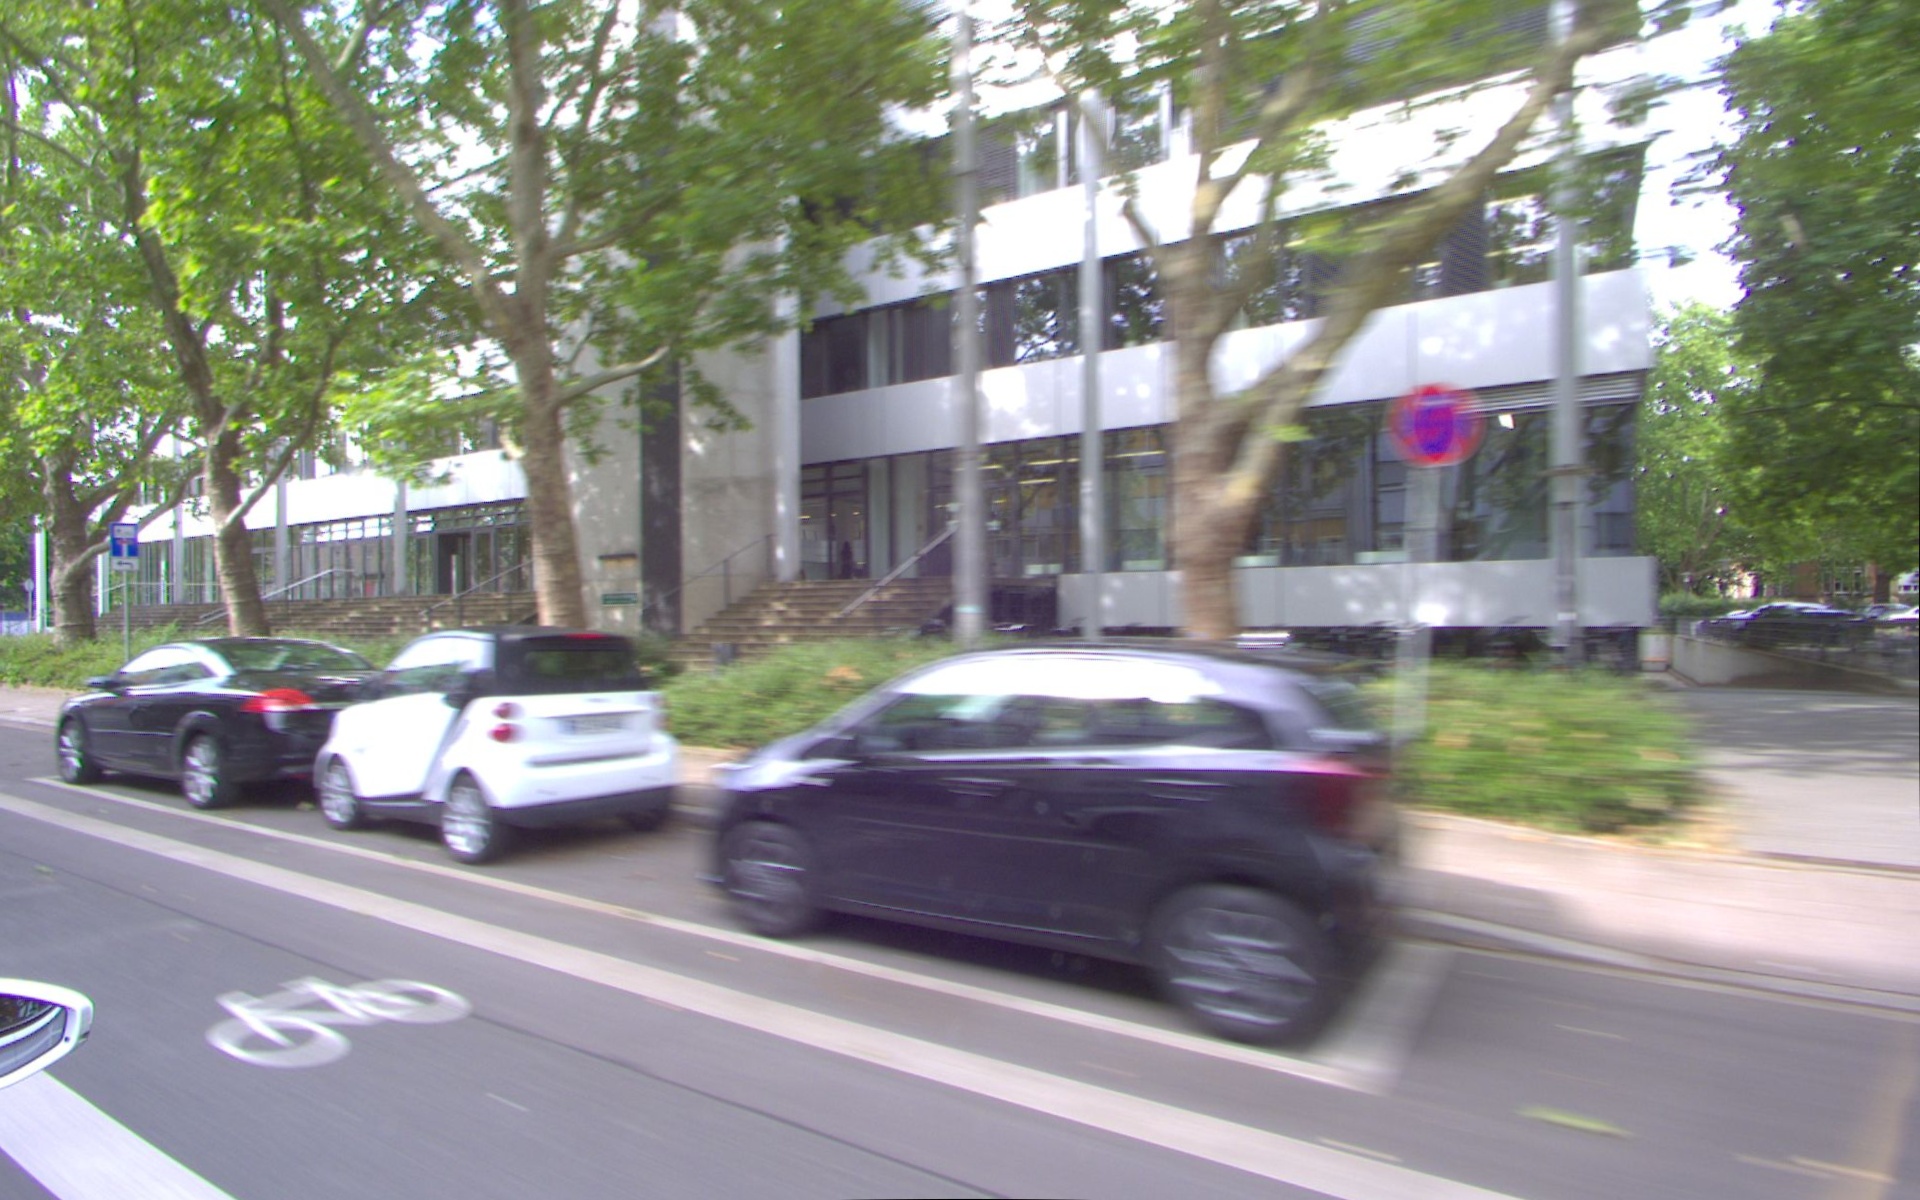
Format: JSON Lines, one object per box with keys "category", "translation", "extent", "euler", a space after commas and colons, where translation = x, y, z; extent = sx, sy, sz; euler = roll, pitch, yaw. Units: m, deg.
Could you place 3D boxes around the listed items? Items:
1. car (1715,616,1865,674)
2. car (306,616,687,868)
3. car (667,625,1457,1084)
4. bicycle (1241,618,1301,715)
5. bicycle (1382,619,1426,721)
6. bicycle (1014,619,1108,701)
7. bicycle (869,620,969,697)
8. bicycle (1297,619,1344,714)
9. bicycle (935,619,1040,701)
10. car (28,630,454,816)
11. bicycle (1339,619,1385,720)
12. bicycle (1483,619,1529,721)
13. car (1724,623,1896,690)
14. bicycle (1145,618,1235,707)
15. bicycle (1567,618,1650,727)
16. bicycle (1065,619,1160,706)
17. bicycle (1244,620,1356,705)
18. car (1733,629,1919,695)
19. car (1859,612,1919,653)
{"category": "car", "translation": [36.504, 1.962, 44.236], "extent": [4.718, 2.438, 2.222], "euler": [-1, -2, 30]}
{"category": "car", "translation": [-3.536, 0.930, 7.597], "extent": [2.564, 1.563, 1.532], "euler": [-1, -2, 35]}
{"category": "car", "translation": [0.385, 0.902, 4.968], "extent": [3.608, 1.521, 1.526], "euler": [-1, -2, 33]}
{"category": "bicycle", "translation": [4.011, 0.823, 12.997], "extent": [0.611, 1.132, 1.698], "euler": [0, 0, 13]}
{"category": "bicycle", "translation": [5.439, 0.815, 12.250], "extent": [0.461, 1.132, 1.539], "euler": [0, 0, 25]}
{"category": "bicycle", "translation": [1.571, 0.884, 15.329], "extent": [0.663, 1.132, 1.911], "euler": [0, 0, 32]}
{"category": "bicycle", "translation": [-0.633, 0.913, 16.221], "extent": [0.663, 1.132, 1.911], "euler": [0, 0, 32]}
{"category": "bicycle", "translation": [4.644, 0.826, 12.938], "extent": [0.502, 1.132, 1.380], "euler": [0, 0, 17]}
{"category": "bicycle", "translation": [0.464, 0.889, 15.492], "extent": [0.663, 1.132, 2.075], "euler": [0, 0, 32]}
{"category": "car", "translation": [-7.060, 1.035, 9.732], "extent": [4.355, 1.443, 1.696], "euler": [-1, -2, 30]}
{"category": "bicycle", "translation": [4.950, 0.817, 12.289], "extent": [0.461, 1.132, 1.378], "euler": [0, 0, 25]}
{"category": "bicycle", "translation": [6.583, 0.808, 12.072], "extent": [0.461, 1.132, 1.443], "euler": [0, 1, 29]}
{"category": "car", "translation": [32.759, 2.144, 38.808], "extent": [4.718, 2.438, 2.222], "euler": [-1, -2, 30]}
{"category": "bicycle", "translation": [3.282, 0.845, 14.140], "extent": [0.663, 1.132, 1.911], "euler": [0, 0, 32]}
{"category": "bicycle", "translation": [7.515, 0.797, 11.662], "extent": [0.595, 1.132, 1.673], "euler": [0, 0, 26]}
{"category": "bicycle", "translation": [2.239, 0.856, 14.491], "extent": [0.663, 1.132, 1.911], "euler": [0, 0, 32]}
{"category": "bicycle", "translation": [4.722, 0.845, 13.925], "extent": [1.415, 1.132, 0.490], "euler": [0, 1, 27]}
{"category": "car", "translation": [30.880, 2.171, 35.903], "extent": [4.718, 2.171, 2.222], "euler": [-1, -2, 30]}
{"category": "car", "translation": [57.675, 1.966, 60.398], "extent": [4.718, 2.438, 2.222], "euler": [-1, -2, 30]}
